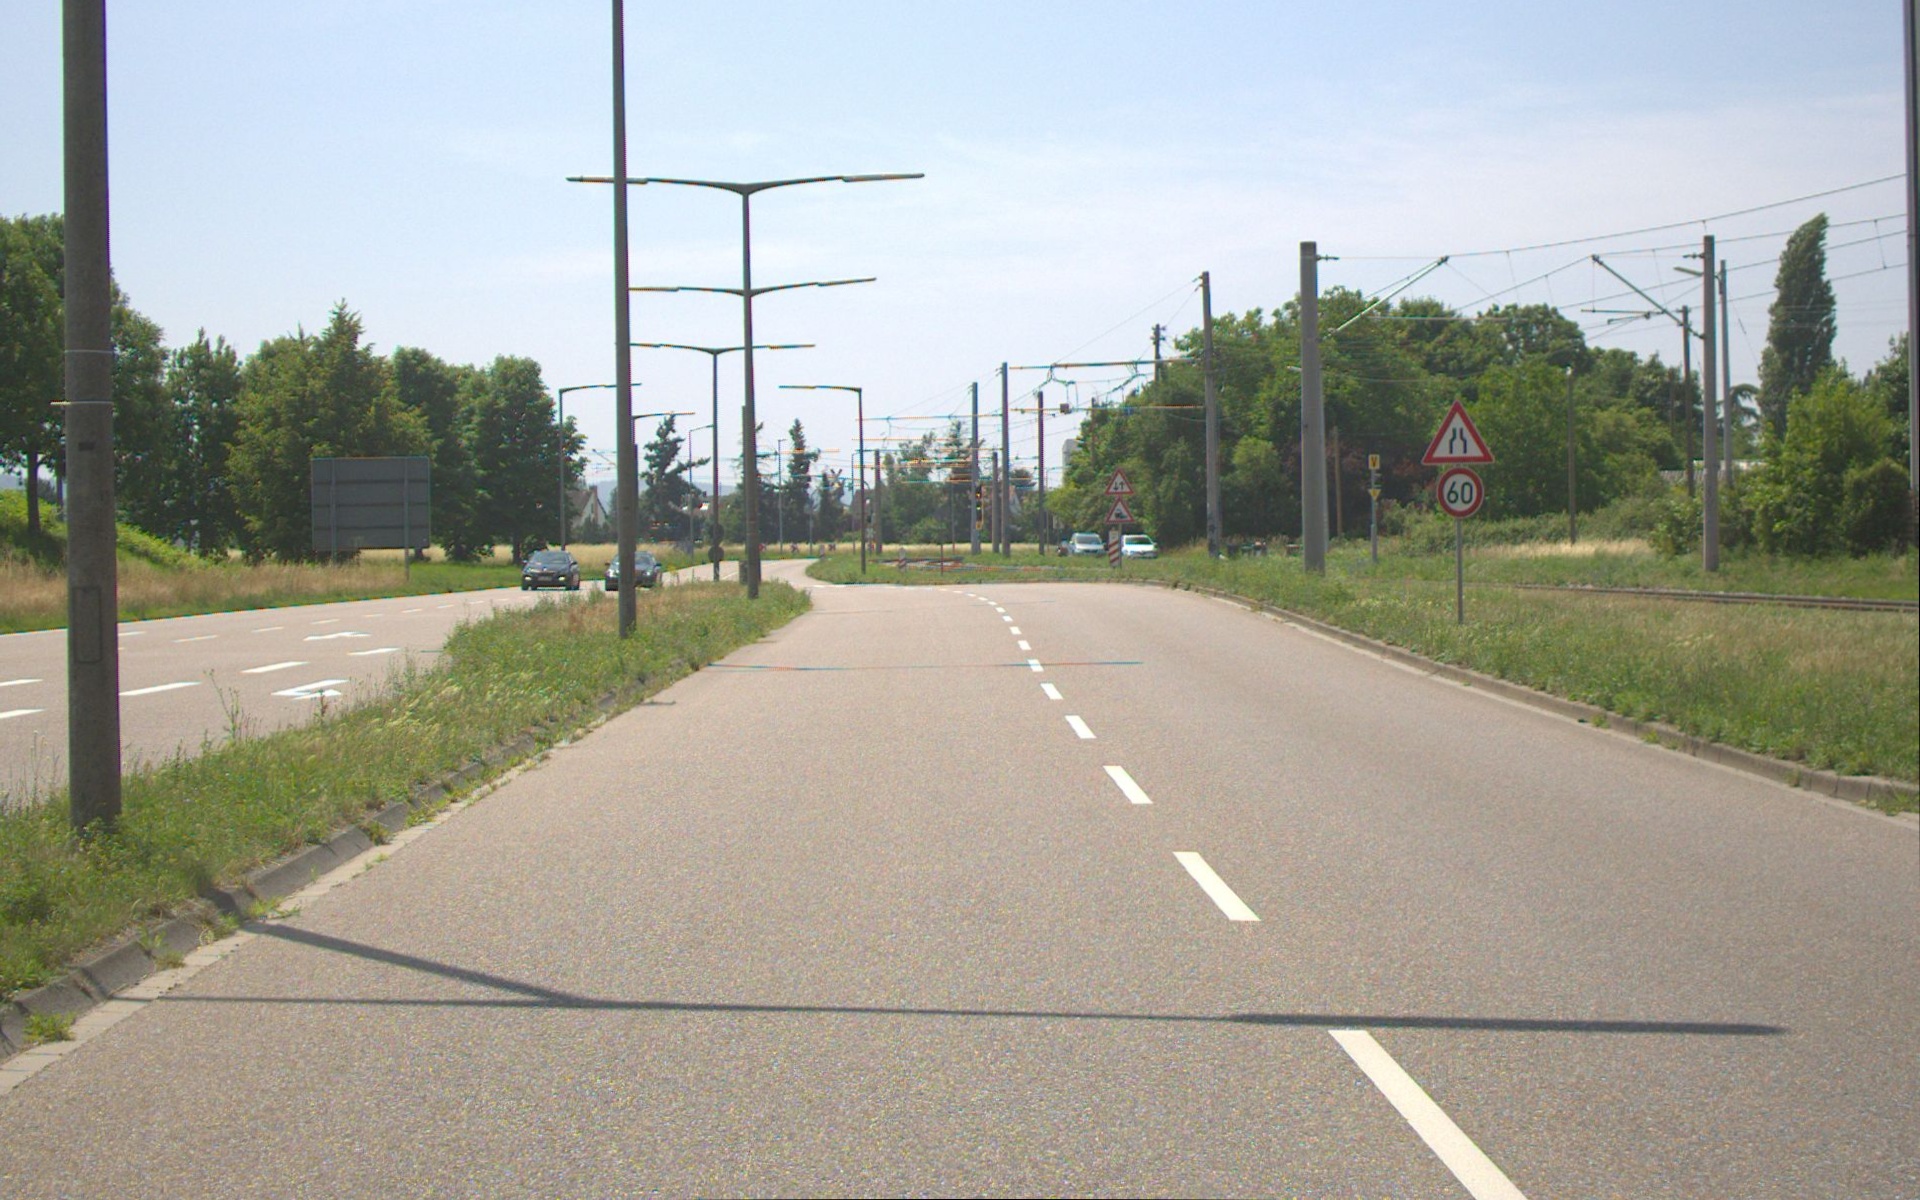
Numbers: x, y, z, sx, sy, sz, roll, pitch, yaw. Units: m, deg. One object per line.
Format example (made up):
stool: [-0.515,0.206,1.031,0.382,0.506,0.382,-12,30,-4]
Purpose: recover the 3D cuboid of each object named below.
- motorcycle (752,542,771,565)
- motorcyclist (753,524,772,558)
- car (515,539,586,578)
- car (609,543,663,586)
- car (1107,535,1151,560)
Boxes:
motorcycle: [-14.055,-3.323,243.765,0.989,1.575,3.400,1,0,2]
motorcyclist: [-14.042,-4.176,243.929,1.231,2.343,1.106,1,0,2]
car: [-14.826,-1.514,124.647,1.993,1.355,4.666,-1,1,0]
car: [-11.474,-1.270,121.934,1.692,1.486,4.001,-1,1,-2]
car: [8.196,-2.550,166.690,1.562,1.175,3.080,-1,1,-8]
